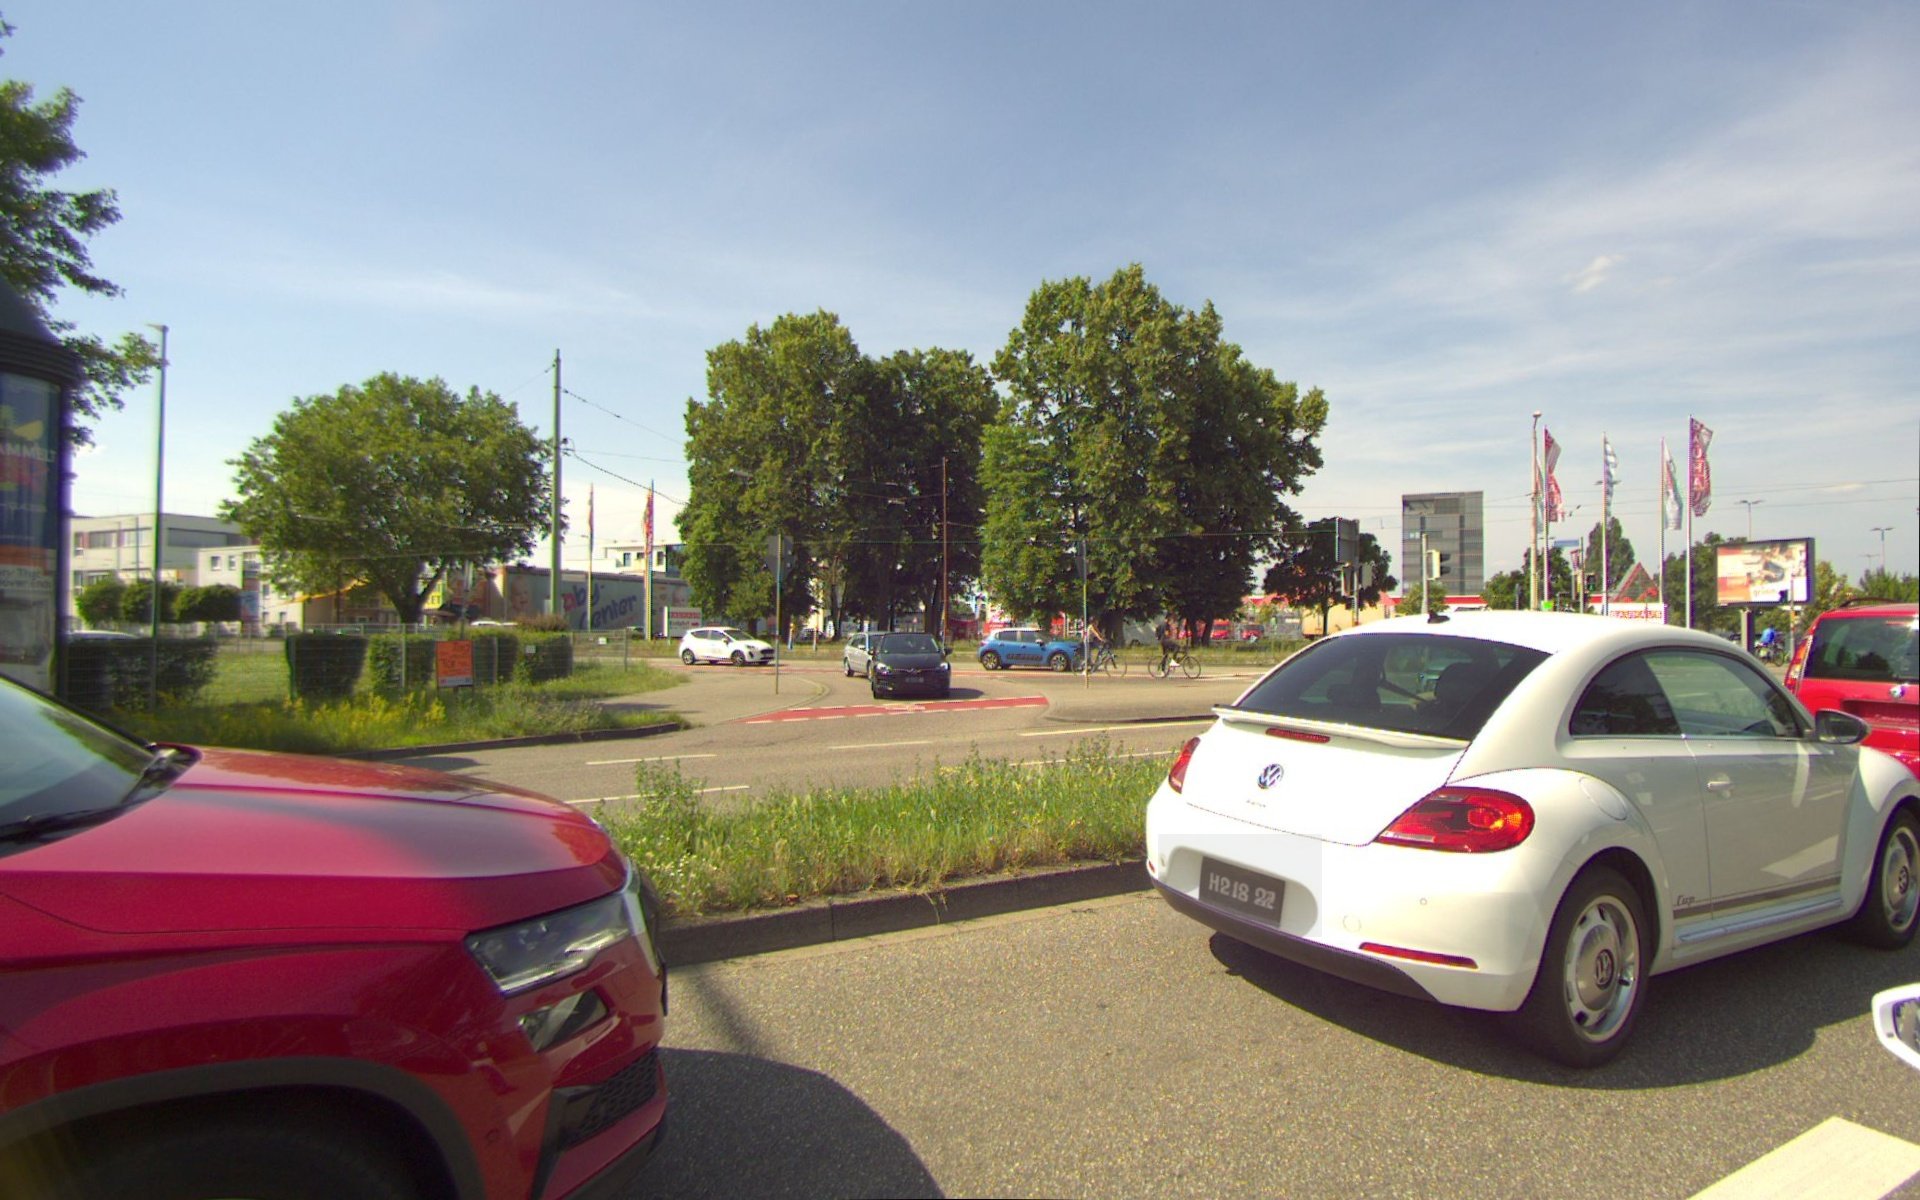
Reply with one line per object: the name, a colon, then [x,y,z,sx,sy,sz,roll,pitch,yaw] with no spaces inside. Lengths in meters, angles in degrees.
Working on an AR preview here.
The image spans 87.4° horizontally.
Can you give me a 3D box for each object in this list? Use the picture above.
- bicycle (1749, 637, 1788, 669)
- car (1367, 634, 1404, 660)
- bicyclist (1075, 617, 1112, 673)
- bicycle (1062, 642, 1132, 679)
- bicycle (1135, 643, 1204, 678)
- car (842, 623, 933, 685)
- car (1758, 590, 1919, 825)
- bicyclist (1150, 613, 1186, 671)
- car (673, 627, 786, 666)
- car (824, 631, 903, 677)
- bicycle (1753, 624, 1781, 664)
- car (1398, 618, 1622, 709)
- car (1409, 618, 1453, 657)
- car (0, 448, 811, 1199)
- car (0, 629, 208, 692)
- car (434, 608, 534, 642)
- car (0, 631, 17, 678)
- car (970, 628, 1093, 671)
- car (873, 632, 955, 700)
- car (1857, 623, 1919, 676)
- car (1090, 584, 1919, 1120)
bicycle: [33.682,2.194,41.842,2.225,1.273,0.668,1,-2,-35]
car: [28.782,3.149,68.098,1.960,1.706,4.001,-1,-2,18]
bicyclist: [4.080,1.362,30.634,0.883,1.668,0.787,-1,0,25]
bicycle: [4.174,1.833,30.586,1.972,1.053,0.744,-2,0,25]
bicycle: [6.350,1.821,30.451,1.917,0.996,0.788,-2,0,25]
car: [-2.146,1.508,28.658,1.695,1.624,4.149,1,-2,-17]
car: [8.194,0.805,7.993,3.873,1.616,1.621,2,-2,-31]
bicyclist: [6.314,1.266,30.479,0.883,1.738,0.782,-1,0,25]
car: [-9.058,1.786,39.422,3.924,1.439,1.999,-1,-2,24]
car: [-3.209,1.713,32.729,1.818,1.407,3.985,1,-2,-17]
bicycle: [33.580,1.816,41.796,0.982,1.636,0.668,1,-2,-35]
car: [10.057,1.122,18.330,3.952,1.489,1.768,1,-3,-30]
car: [31.626,2.499,67.571,1.960,2.566,4.642,-1,-2,16]
car: [-2.686,0.591,1.560,4.540,1.614,1.774,1,-1,-31]
car: [-25.303,1.725,29.478,1.961,1.687,4.845,-1,-2,21]
car: [-21.353,1.118,45.068,3.955,1.439,1.999,-1,-2,24]
car: [-35.069,1.862,33.911,1.783,1.642,4.339,-1,-2,24]
car: [2.516,1.701,35.234,3.921,1.439,2.000,0,-2,20]
car: [-1.075,1.487,23.617,1.731,1.407,3.999,-1,-2,-2]
car: [27.126,1.365,28.252,3.953,1.408,1.732,1,-2,-31]
car: [2.759,0.735,4.618,4.087,1.499,1.757,1,0,-31]
